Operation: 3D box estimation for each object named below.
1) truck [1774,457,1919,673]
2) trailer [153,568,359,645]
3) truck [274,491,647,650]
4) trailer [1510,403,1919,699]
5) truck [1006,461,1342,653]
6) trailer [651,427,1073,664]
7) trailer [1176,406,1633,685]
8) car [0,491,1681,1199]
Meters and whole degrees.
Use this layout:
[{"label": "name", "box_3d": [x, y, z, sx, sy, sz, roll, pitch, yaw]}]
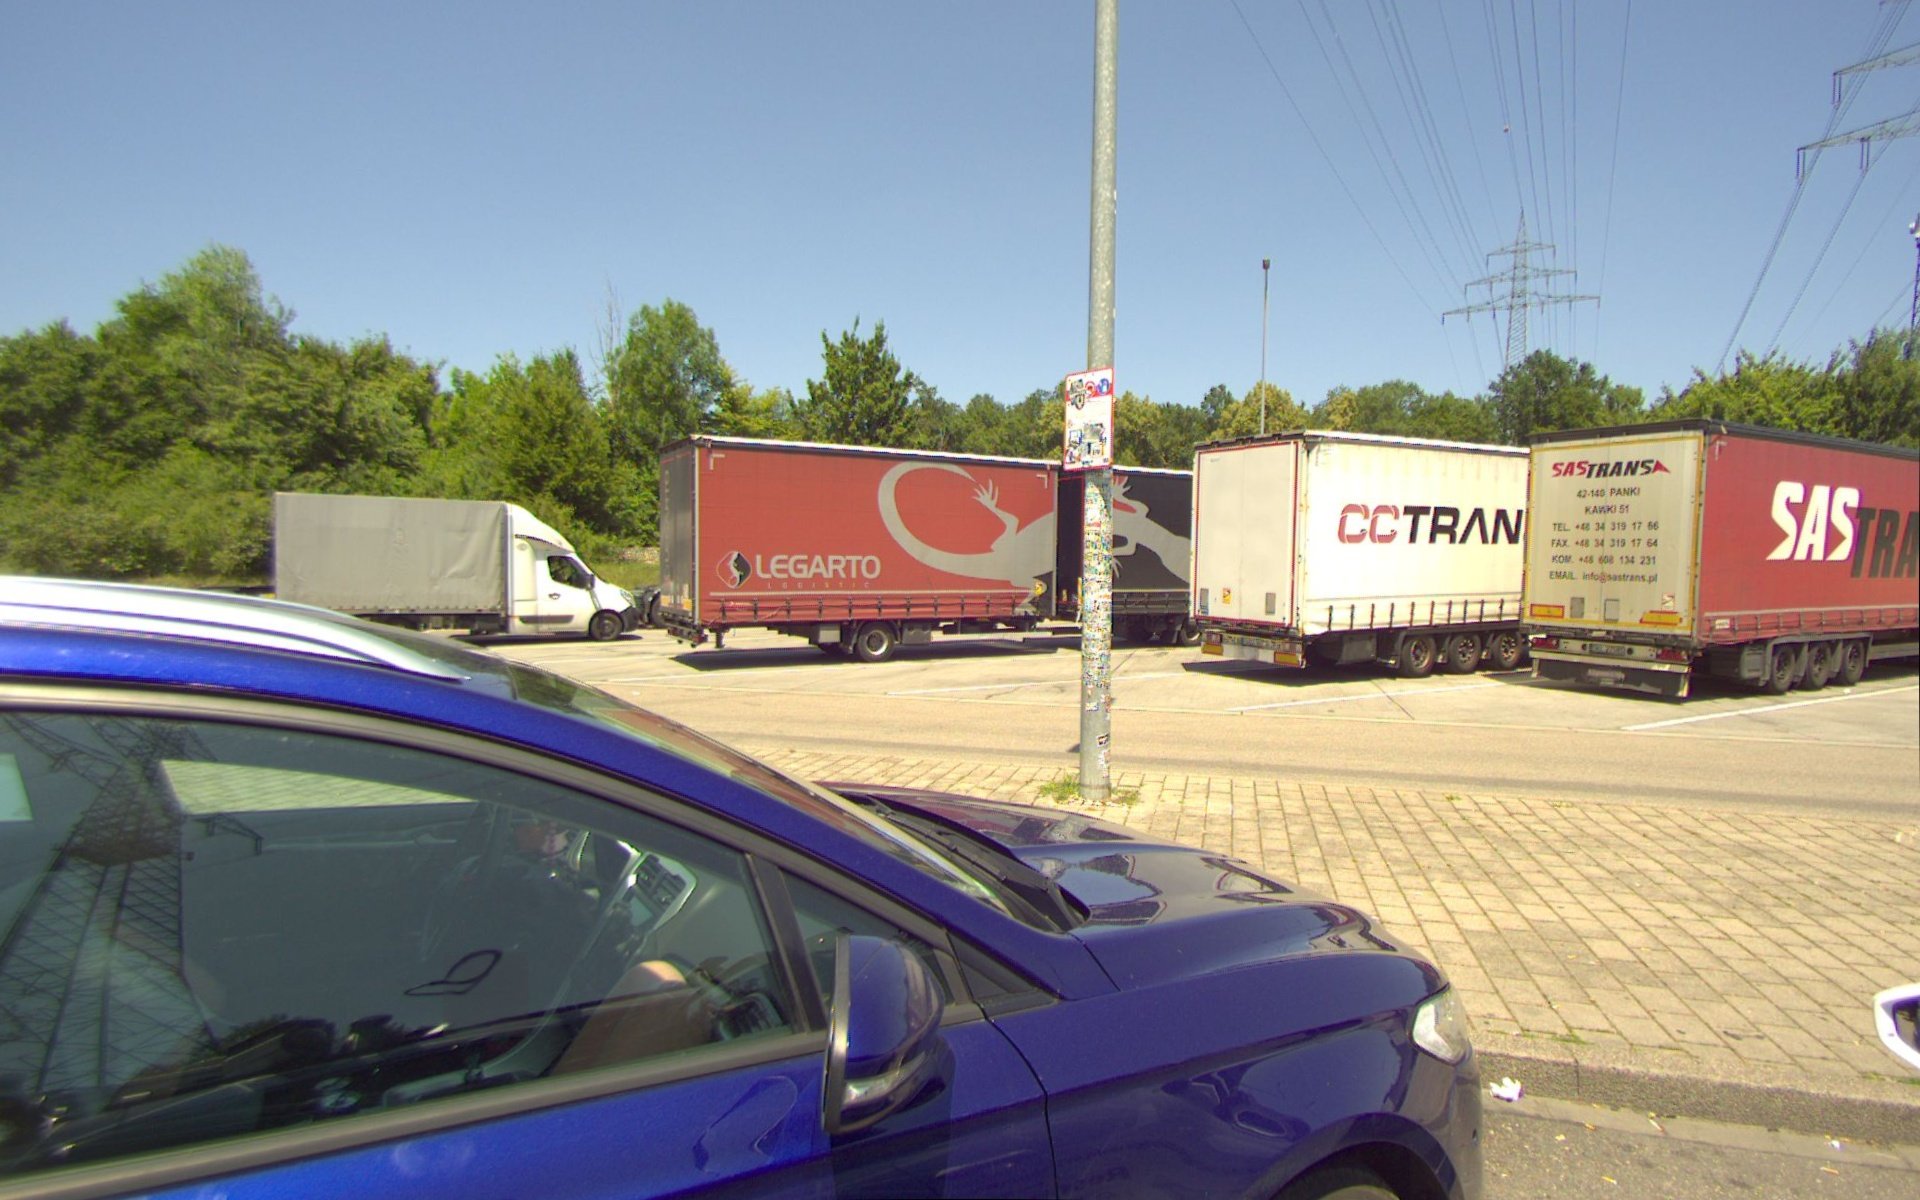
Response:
[{"label": "truck", "box_3d": [20.820, -0.669, 21.773, 6.749, 4.136, 2.729, 0, 1, -31]}, {"label": "trailer", "box_3d": [-16.504, 0.149, 23.774, 3.856, 1.684, 1.464, 0, 1, -30]}, {"label": "truck", "box_3d": [-11.113, -0.602, 22.907, 7.265, 3.170, 2.352, 0, 1, -30]}, {"label": "trailer", "box_3d": [15.304, -0.666, 18.510, 13.129, 4.112, 2.736, 0, 1, -31]}, {"label": "truck", "box_3d": [5.402, -0.906, 24.582, 8.534, 4.073, 2.624, 0, 1, -30]}, {"label": "trailer", "box_3d": [-1.789, -0.915, 20.309, 8.158, 4.027, 2.651, 0, 1, -31]}, {"label": "trailer", "box_3d": [8.713, -0.826, 19.107, 9.614, 4.321, 2.733, 0, 1, -29]}, {"label": "car", "box_3d": [-1.006, 0.656, 1.464, 4.419, 1.485, 1.765, 0, 1, -32]}]
